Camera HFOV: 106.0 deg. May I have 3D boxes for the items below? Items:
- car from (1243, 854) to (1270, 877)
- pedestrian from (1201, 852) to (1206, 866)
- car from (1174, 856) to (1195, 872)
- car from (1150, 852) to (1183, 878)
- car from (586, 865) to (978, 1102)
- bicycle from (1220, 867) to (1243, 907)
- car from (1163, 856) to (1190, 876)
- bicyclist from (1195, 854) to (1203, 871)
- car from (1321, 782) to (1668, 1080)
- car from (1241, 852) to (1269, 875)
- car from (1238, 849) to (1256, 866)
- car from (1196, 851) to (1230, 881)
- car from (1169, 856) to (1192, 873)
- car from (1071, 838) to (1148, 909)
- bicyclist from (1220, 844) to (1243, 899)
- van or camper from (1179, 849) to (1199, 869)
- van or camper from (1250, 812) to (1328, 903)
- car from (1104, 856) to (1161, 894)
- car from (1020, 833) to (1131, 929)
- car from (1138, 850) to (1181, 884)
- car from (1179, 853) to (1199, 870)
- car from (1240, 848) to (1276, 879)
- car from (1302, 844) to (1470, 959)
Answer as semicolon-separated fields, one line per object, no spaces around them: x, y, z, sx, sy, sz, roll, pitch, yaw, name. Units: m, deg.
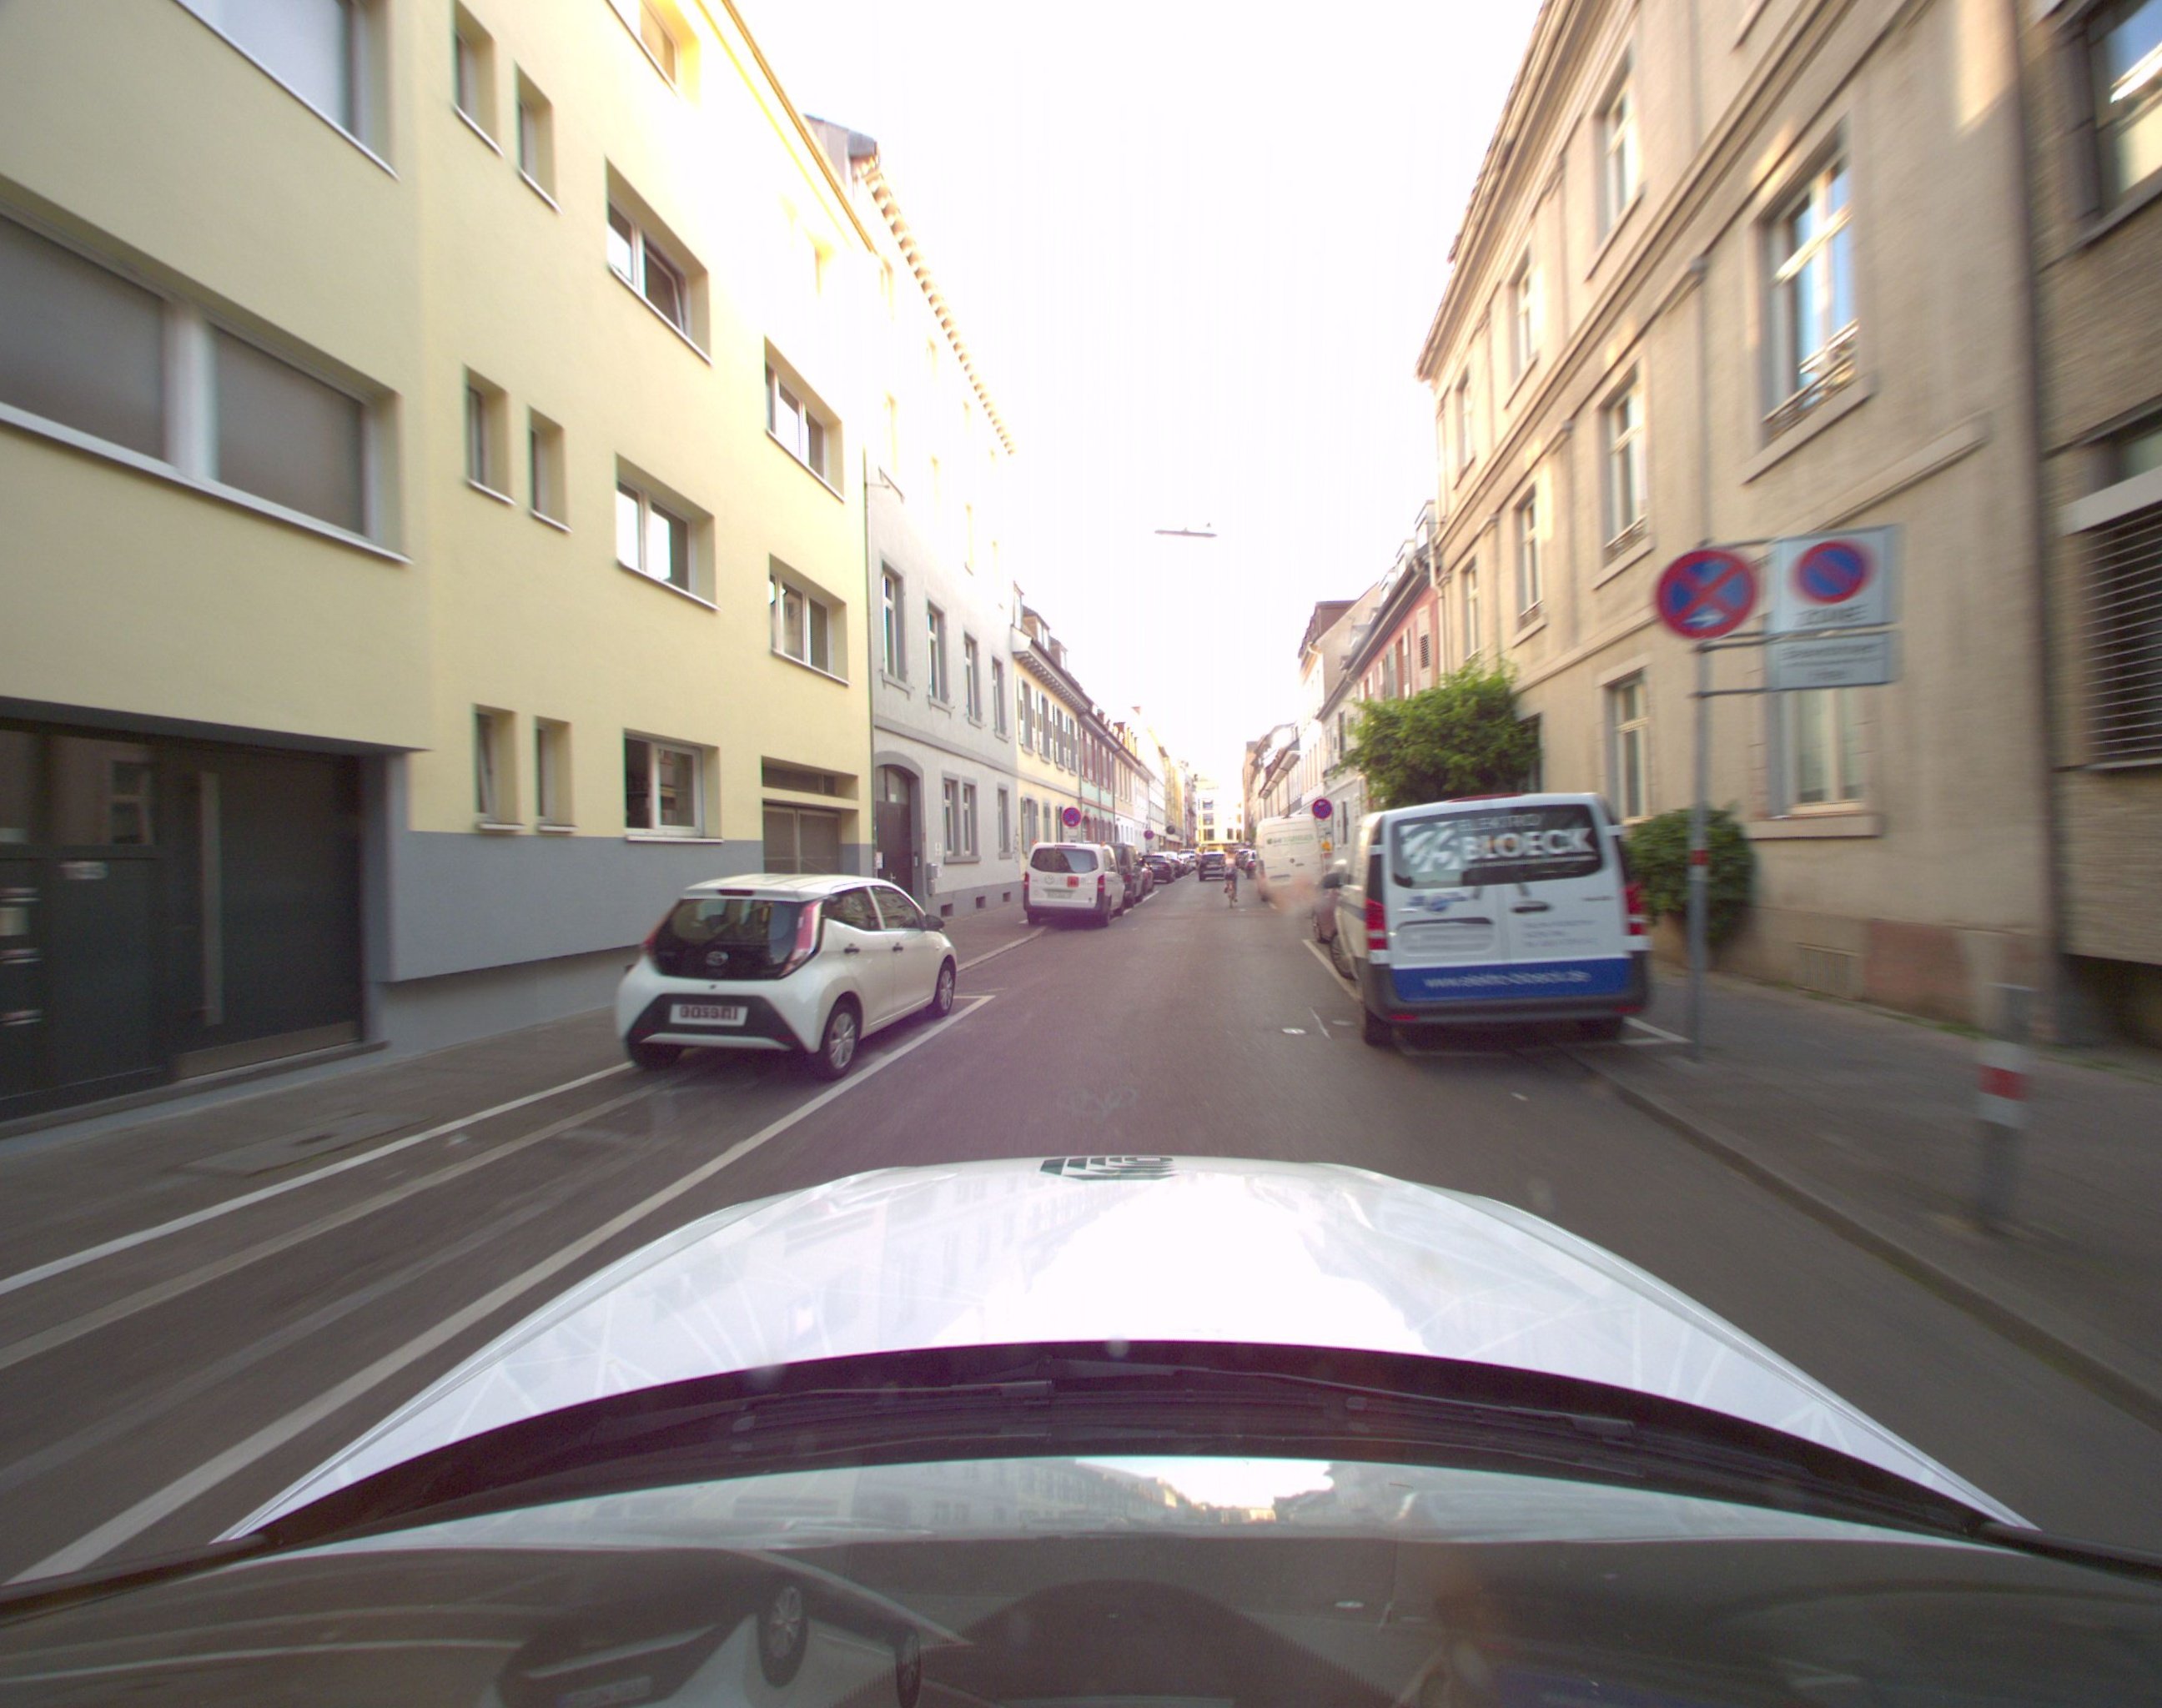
11.791;0.725;54.827;1.666;1.486;4.011;-1;0;10;car
15.600;0.628;103.502;0.551;1.752;0.569;-1;-1;7;pedestrian
9.265;0.853;72.532;1.643;1.411;3.616;-1;0;10;car
5.834;0.717;54.960;1.986;1.707;4.546;-1;0;9;car
-2.246;0.870;7.170;1.652;1.449;3.530;1;0;10;car
4.383;0.927;23.662;0.609;1.082;1.815;-1;0;11;bicycle
7.172;0.853;60.986;1.907;1.434;4.304;-1;0;8;car
9.471;0.684;65.321;0.602;1.369;0.623;-1;-1;11;bicyclist
3.452;0.510;7.981;1.922;1.898;5.298;-2;0;15;car
13.819;0.751;64.852;1.907;1.738;4.163;-1;0;9;car
15.643;0.330;76.900;1.643;1.561;3.616;-1;0;10;car
7.495;0.653;46.053;1.808;1.618;4.011;-1;0;10;car
8.284;0.853;67.550;1.643;1.411;3.913;-1;0;10;car
1.032;0.570;26.328;1.851;2.013;4.826;-2;0;9;car
4.373;0.504;23.701;0.617;1.574;0.686;-1;-1;11;bicyclist
11.080;0.516;83.267;1.833;2.013;4.691;-1;0;10;van or camper
6.889;0.090;27.654;2.037;2.637;7.084;-2;0;11;van or camper
2.175;0.827;33.281;1.754;1.401;4.275;-1;0;10;car
0.025;0.578;19.964;1.851;2.013;5.118;-2;0;9;car
4.273;0.639;43.625;1.791;1.676;4.504;-2;0;11;car
10.285;0.736;77.454;1.643;1.561;3.616;-1;0;10;car
10.351;0.539;47.756;1.808;1.530;5.087;-5;-1;11;car
4.588;0.640;12.790;1.645;1.505;3.762;-2;0;8;car
